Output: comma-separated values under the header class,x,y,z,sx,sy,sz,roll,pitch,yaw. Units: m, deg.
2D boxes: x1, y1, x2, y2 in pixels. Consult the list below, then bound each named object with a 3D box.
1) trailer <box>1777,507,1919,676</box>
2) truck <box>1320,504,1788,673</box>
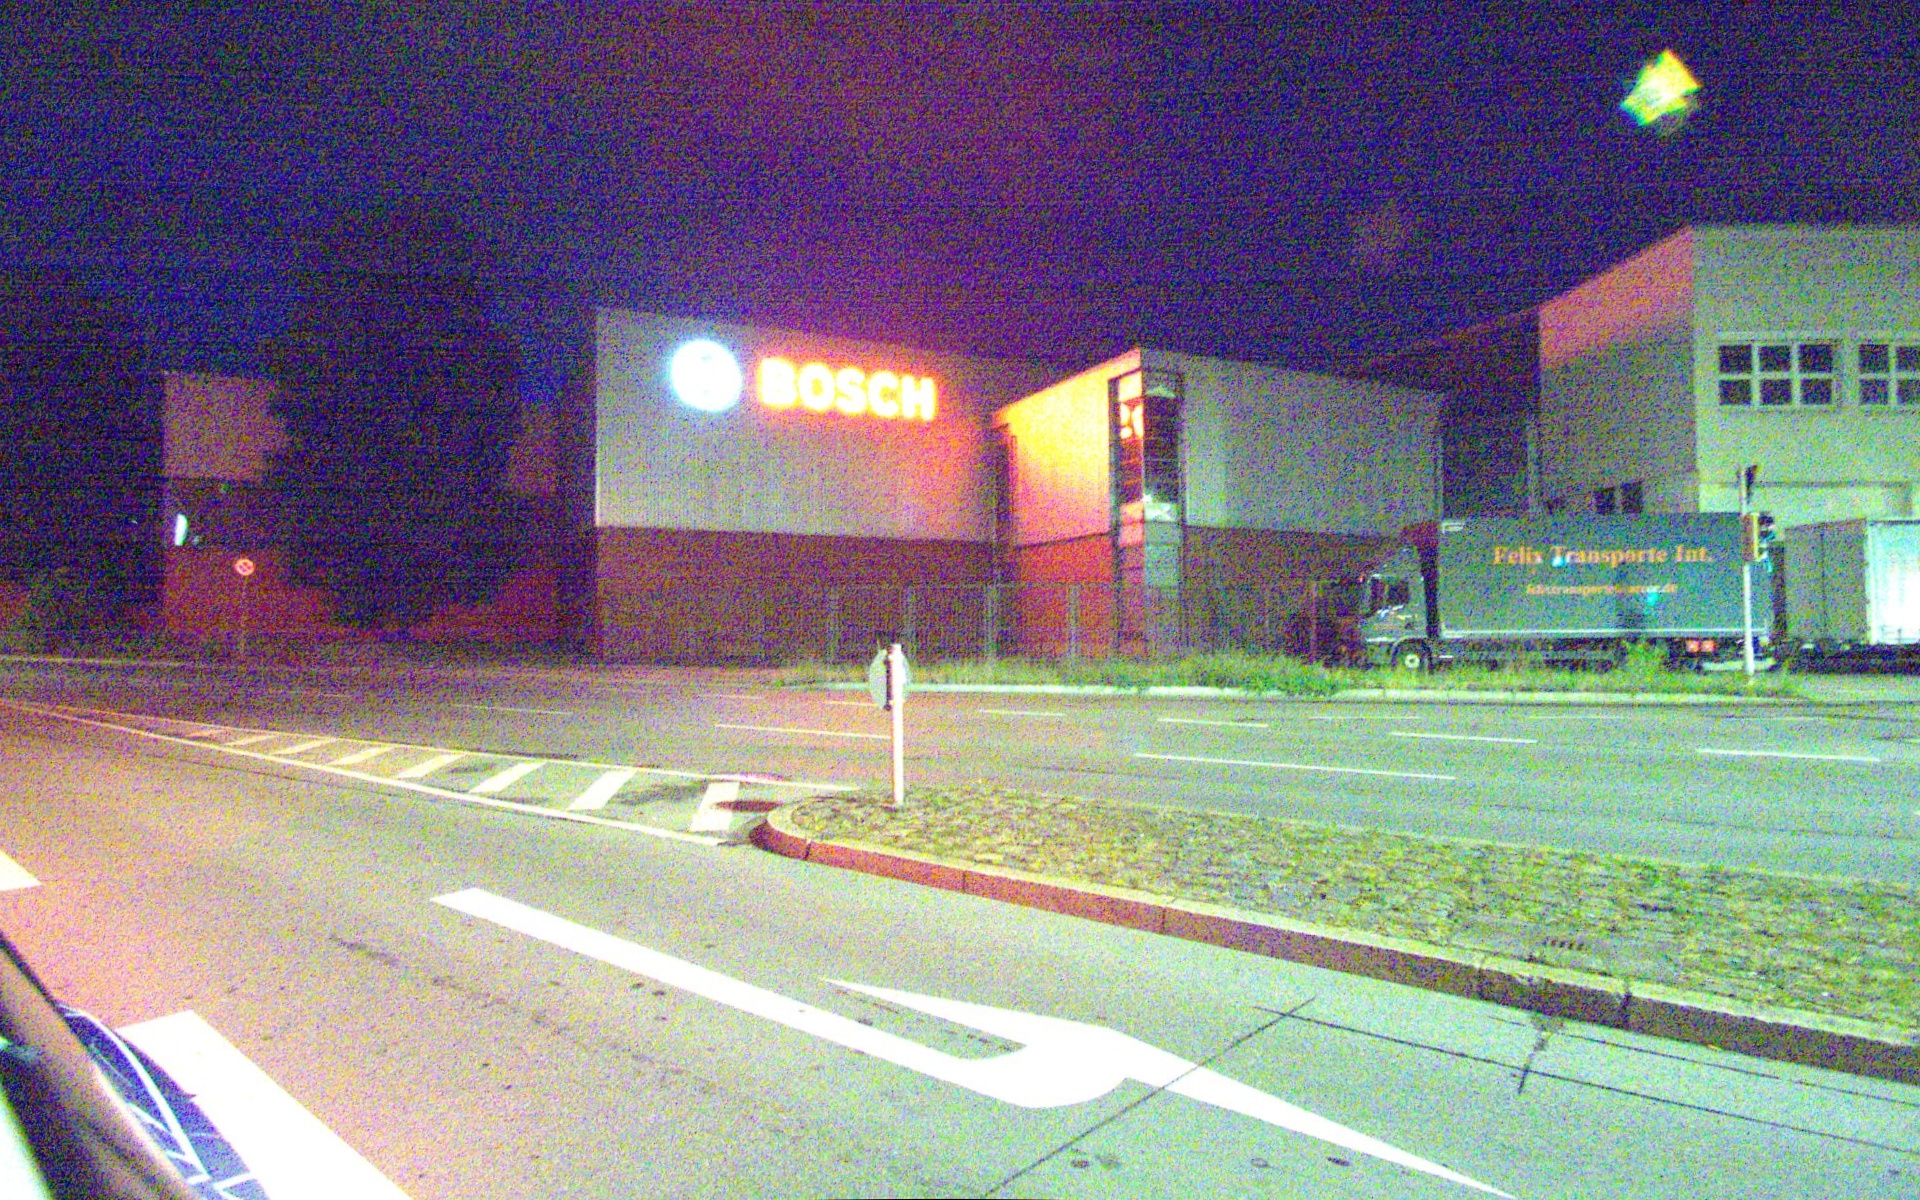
class,x,y,z,sx,sy,sz,roll,pitch,yaw
trailer,23.767,-0.174,23.986,6.430,3.819,2.619,0,-1,4
truck,14.093,-0.256,24.793,9.439,3.825,2.942,0,-1,6
